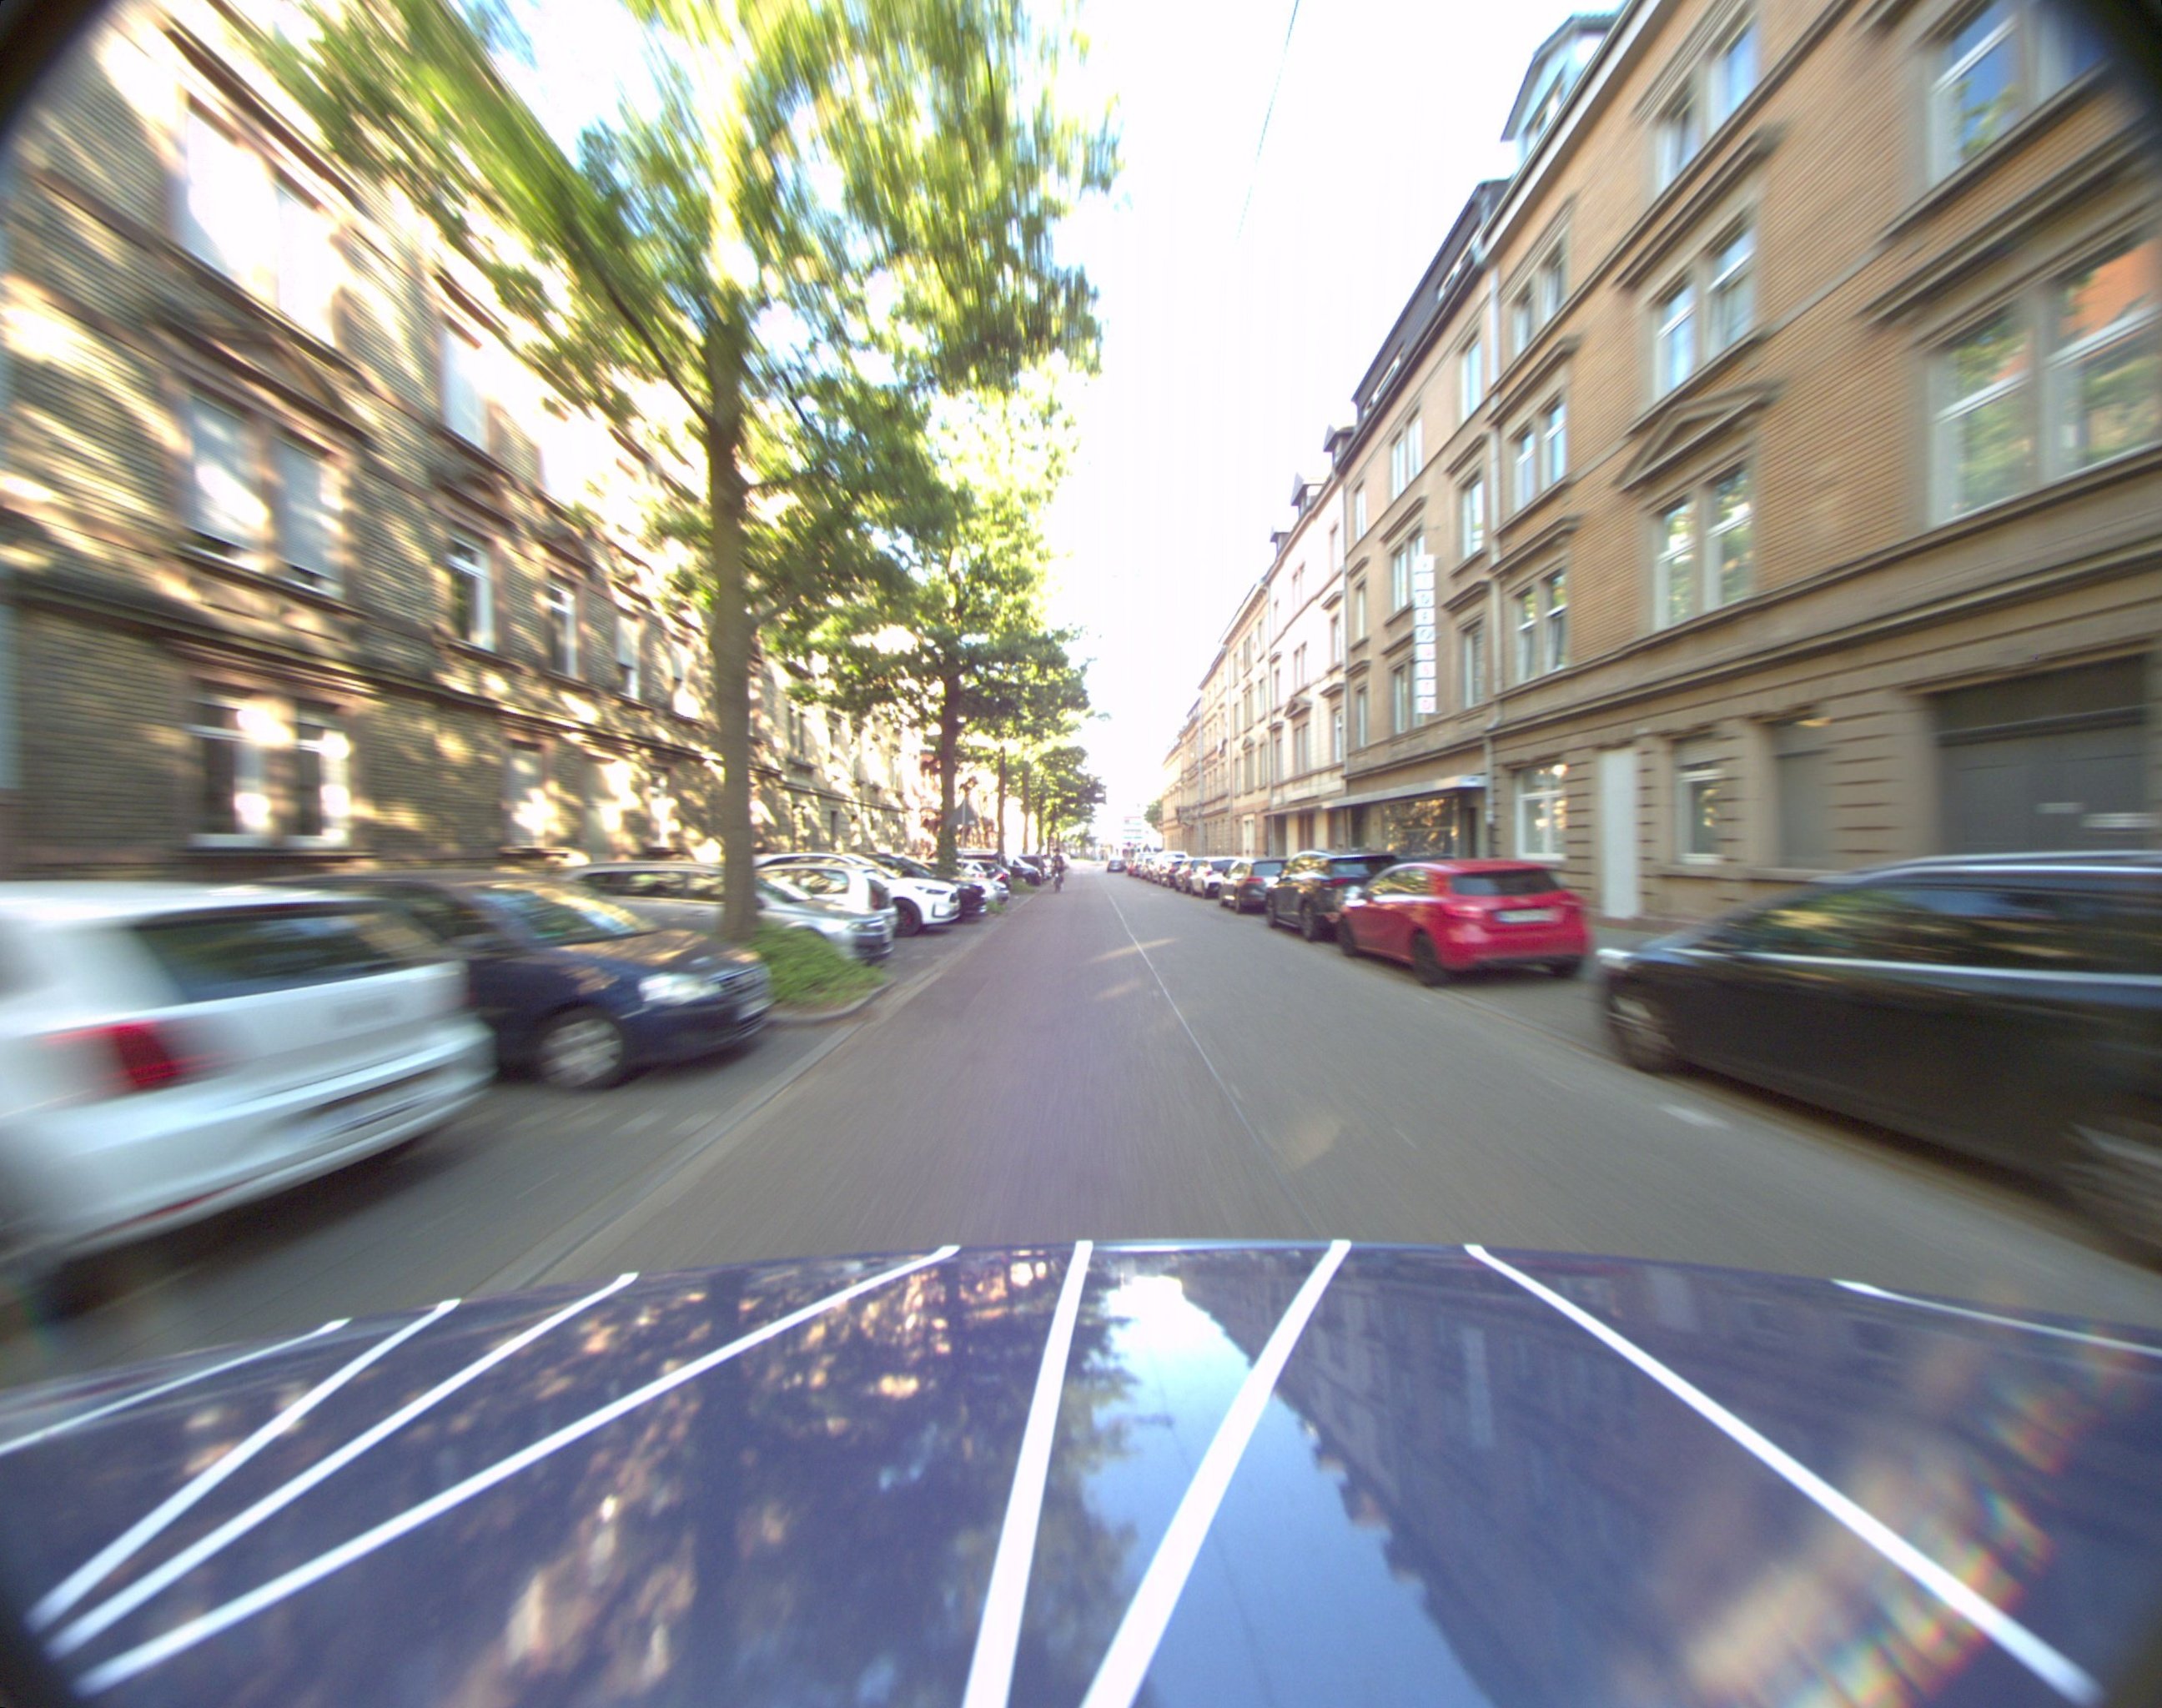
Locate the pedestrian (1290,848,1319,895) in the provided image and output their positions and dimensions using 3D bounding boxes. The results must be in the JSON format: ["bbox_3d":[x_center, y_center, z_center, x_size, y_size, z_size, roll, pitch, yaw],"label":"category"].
[{"bbox_3d":[7.956,0.607,27.023,0.697,1.622,1.018,-1,0,-1],"label":"pedestrian"}]

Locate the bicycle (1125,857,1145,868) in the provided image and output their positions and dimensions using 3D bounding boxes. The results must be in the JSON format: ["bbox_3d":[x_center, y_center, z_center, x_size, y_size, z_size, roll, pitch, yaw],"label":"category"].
[{"bbox_3d":[5.741,0.889,80.436,2.043,1.092,0.587,-2,1,2],"label":"bicycle"}]

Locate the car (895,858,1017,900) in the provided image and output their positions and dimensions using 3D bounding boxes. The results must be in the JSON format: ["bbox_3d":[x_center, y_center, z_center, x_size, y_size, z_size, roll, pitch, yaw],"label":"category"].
[{"bbox_3d":[-4.524,0.888,28.043,4.155,1.446,1.936,1,0,0],"label":"car"}]

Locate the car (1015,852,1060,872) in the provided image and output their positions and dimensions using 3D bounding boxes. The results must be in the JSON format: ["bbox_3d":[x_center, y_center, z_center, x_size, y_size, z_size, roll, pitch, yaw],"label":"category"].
[{"bbox_3d":[-4.168,0.759,72.935,4.056,1.612,1.781,4,0,1],"label":"car"}]

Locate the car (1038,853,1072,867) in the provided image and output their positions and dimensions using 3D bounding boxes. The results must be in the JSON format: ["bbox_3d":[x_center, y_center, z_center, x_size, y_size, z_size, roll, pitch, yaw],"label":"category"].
[{"bbox_3d":[-3.263,0.734,95.280,4.056,1.521,1.781,4,0,1],"label":"car"}]

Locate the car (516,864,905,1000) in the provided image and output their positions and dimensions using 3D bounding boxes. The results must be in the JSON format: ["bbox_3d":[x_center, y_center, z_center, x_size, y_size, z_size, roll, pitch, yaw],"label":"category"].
[{"bbox_3d":[-4.669,0.944,10.089,4.234,1.527,1.801,-1,0,-2],"label":"car"}]

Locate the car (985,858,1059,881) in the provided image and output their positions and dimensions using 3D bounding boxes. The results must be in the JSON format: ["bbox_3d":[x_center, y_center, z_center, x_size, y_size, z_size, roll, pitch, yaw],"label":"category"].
[{"bbox_3d":[-3.675,0.965,47.866,4.468,1.360,1.903,1,0,2],"label":"car"}]

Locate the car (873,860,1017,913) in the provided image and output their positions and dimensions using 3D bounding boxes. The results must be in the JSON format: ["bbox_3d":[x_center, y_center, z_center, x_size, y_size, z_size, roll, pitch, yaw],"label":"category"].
[{"bbox_3d":[-4.015,0.940,22.861,3.997,1.448,1.687,-1,0,1],"label":"car"}]

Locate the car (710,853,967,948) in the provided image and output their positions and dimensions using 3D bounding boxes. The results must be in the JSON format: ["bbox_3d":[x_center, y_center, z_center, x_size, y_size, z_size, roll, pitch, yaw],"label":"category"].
[{"bbox_3d":[-4.680,0.868,15.188,4.487,1.647,1.891,-1,2,-1],"label":"car"}]

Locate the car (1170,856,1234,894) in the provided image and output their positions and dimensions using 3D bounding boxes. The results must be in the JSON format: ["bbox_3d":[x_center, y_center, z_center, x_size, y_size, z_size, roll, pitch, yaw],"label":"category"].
[{"bbox_3d":[5.048,0.827,32.286,1.891,1.436,4.542,-1,0,-1],"label":"car"}]

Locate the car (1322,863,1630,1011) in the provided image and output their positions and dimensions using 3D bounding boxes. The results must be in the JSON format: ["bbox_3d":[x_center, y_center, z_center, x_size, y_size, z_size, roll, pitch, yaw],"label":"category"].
[{"bbox_3d":[4.806,0.895,10.080,1.825,1.417,4.313,-2,0,0],"label":"car"}]

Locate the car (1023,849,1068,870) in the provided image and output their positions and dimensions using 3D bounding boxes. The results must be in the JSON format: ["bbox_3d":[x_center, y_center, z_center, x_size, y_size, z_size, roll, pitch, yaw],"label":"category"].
[{"bbox_3d":[-3.826,0.562,82.909,4.699,1.966,1.925,4,0,1],"label":"car"}]

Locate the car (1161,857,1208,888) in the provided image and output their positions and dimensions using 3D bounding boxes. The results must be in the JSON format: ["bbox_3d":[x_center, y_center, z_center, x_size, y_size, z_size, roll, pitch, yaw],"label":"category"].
[{"bbox_3d":[5.142,0.893,38.343,1.751,1.464,4.244,-1,0,0],"label":"car"}]

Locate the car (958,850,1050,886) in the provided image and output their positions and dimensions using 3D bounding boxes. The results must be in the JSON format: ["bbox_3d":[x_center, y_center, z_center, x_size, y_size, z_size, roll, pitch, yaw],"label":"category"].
[{"bbox_3d":[-4.243,0.771,41.942,4.683,1.879,1.904,0,0,-21],"label":"car"}]

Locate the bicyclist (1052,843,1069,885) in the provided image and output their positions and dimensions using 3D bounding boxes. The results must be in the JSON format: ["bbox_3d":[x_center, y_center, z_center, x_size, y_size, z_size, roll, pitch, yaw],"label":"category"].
[{"bbox_3d":[-0.913,0.439,34.414,0.712,1.865,1.120,0,0,0],"label":"bicyclist"}]

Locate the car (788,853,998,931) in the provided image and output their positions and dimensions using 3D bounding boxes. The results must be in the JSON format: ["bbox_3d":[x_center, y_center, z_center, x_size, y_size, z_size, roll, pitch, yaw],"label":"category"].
[{"bbox_3d":[-4.386,0.866,18.223,4.486,1.647,1.891,-1,2,2],"label":"car"}]

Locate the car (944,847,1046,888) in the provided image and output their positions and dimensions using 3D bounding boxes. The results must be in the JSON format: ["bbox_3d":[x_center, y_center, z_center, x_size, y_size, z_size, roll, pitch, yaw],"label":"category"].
[{"bbox_3d":[-4.255,0.663,38.328,4.933,1.890,2.175,2,0,-3],"label":"car"}]

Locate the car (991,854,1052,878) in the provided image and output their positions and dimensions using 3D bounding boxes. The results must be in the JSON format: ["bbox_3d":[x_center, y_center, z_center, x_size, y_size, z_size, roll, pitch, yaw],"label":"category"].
[{"bbox_3d":[-4.270,0.837,55.243,4.243,1.579,1.738,2,0,-1],"label":"car"}]

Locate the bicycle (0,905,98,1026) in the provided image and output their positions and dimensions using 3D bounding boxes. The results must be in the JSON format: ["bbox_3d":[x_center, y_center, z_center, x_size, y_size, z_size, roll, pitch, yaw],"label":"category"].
[{"bbox_3d":[-9.939,1.033,6.590,0.405,1.039,1.947,-1,0,-5],"label":"bicycle"}]

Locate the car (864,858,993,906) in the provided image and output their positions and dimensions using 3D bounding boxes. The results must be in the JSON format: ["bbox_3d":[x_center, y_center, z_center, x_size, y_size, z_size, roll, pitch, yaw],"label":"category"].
[{"bbox_3d":[-5.041,0.922,25.553,3.998,1.486,1.687,-1,0,-2],"label":"car"}]

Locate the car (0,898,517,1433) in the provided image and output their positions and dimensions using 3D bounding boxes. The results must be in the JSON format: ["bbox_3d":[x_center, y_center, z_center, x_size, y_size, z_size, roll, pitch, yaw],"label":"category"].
[{"bbox_3d":[-4.937,0.978,3.008,3.998,1.454,1.782,-1,0,-3],"label":"car"}]

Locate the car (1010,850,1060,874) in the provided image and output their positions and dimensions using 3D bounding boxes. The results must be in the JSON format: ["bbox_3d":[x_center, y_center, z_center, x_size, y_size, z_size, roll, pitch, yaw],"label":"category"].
[{"bbox_3d":[-3.919,0.694,65.633,4.056,1.875,1.781,2,0,2],"label":"car"}]

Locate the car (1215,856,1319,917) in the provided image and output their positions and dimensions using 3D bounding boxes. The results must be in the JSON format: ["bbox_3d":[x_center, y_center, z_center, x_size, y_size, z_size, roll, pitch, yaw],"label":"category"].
[{"bbox_3d":[4.989,0.819,20.998,1.867,1.464,4.489,-1,0,1],"label":"car"}]

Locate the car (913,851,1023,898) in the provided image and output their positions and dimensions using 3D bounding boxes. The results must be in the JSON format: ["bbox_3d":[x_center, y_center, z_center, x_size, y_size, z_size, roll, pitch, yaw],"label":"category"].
[{"bbox_3d":[-4.546,0.822,31.036,4.135,1.778,1.945,-1,0,2],"label":"car"}]

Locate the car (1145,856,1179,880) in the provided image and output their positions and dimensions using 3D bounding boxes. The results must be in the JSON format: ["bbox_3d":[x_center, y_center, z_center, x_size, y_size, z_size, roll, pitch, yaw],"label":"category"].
[{"bbox_3d":[5.136,0.857,48.485,1.641,1.413,3.824,-2,0,-1],"label":"car"}]

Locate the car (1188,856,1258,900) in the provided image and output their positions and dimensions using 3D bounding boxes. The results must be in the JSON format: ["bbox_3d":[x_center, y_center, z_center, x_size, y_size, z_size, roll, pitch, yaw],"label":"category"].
[{"bbox_3d":[5.094,0.814,27.716,1.761,1.464,4.088,-1,0,0],"label":"car"}]

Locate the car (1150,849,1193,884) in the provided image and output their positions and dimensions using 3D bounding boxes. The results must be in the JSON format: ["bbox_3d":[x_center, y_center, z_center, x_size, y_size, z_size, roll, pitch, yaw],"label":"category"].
[{"bbox_3d":[5.144,0.676,43.774,1.847,1.822,4.606,-2,0,-1],"label":"car"}]

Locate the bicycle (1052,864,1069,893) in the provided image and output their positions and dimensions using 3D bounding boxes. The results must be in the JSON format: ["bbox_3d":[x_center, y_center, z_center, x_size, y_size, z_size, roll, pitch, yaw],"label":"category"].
[{"bbox_3d":[-0.916,1.099,34.371,0.712,1.252,1.887,0,0,1],"label":"bicycle"}]

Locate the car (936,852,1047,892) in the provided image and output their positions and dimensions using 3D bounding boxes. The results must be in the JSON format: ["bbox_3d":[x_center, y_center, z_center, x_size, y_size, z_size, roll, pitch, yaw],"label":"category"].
[{"bbox_3d":[-4.047,0.812,35.201,4.933,1.623,2.078,2,0,-3],"label":"car"}]

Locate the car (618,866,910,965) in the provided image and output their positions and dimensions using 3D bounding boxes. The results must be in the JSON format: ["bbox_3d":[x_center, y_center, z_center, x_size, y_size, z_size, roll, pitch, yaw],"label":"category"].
[{"bbox_3d":[-5.171,0.981,12.773,4.110,1.461,1.801,-1,0,2],"label":"car"}]

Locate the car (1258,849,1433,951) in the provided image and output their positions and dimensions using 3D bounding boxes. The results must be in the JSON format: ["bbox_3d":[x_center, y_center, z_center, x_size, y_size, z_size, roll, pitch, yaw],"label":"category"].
[{"bbox_3d":[4.837,0.747,14.586,1.825,1.591,4.313,-2,0,0],"label":"car"}]

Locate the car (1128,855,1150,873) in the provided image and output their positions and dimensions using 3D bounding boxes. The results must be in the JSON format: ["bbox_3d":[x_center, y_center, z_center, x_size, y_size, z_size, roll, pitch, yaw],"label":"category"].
[{"bbox_3d":[5.039,0.867,66.603,1.641,1.482,3.825,-2,0,0],"label":"car"}]

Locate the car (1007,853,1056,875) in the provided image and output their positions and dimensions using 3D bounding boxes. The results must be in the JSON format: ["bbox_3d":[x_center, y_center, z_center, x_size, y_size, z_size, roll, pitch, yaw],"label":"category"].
[{"bbox_3d":[-4.068,0.799,63.185,3.843,1.673,1.739,2,0,2],"label":"car"}]

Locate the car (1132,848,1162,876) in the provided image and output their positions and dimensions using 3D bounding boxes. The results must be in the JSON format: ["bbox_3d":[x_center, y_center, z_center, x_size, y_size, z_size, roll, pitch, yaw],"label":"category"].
[{"bbox_3d":[5.238,0.622,61.071,1.947,2.045,4.745,-2,0,0],"label":"car"}]

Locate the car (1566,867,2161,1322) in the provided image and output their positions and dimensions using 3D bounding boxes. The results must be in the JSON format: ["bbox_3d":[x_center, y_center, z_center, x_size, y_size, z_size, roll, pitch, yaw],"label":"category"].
[{"bbox_3d":[4.693,0.874,3.694,1.825,1.468,4.423,-2,0,0],"label":"car"}]

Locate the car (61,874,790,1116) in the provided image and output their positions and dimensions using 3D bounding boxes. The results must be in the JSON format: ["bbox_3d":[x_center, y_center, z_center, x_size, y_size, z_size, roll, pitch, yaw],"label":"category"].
[{"bbox_3d":[-4.532,0.931,5.717,3.997,1.380,1.677,2,0,0],"label":"car"}]

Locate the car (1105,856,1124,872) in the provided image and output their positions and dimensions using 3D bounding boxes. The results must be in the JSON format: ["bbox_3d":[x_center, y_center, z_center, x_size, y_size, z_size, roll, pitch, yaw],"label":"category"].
[{"bbox_3d":[3.570,1.014,81.580,1.868,1.620,3.825,-2,0,2],"label":"car"}]

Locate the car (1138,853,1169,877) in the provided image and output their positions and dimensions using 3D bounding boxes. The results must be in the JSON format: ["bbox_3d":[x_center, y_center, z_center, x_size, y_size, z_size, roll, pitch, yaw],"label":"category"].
[{"bbox_3d":[5.203,0.763,54.899,1.771,1.648,4.158,-2,0,0],"label":"car"}]
